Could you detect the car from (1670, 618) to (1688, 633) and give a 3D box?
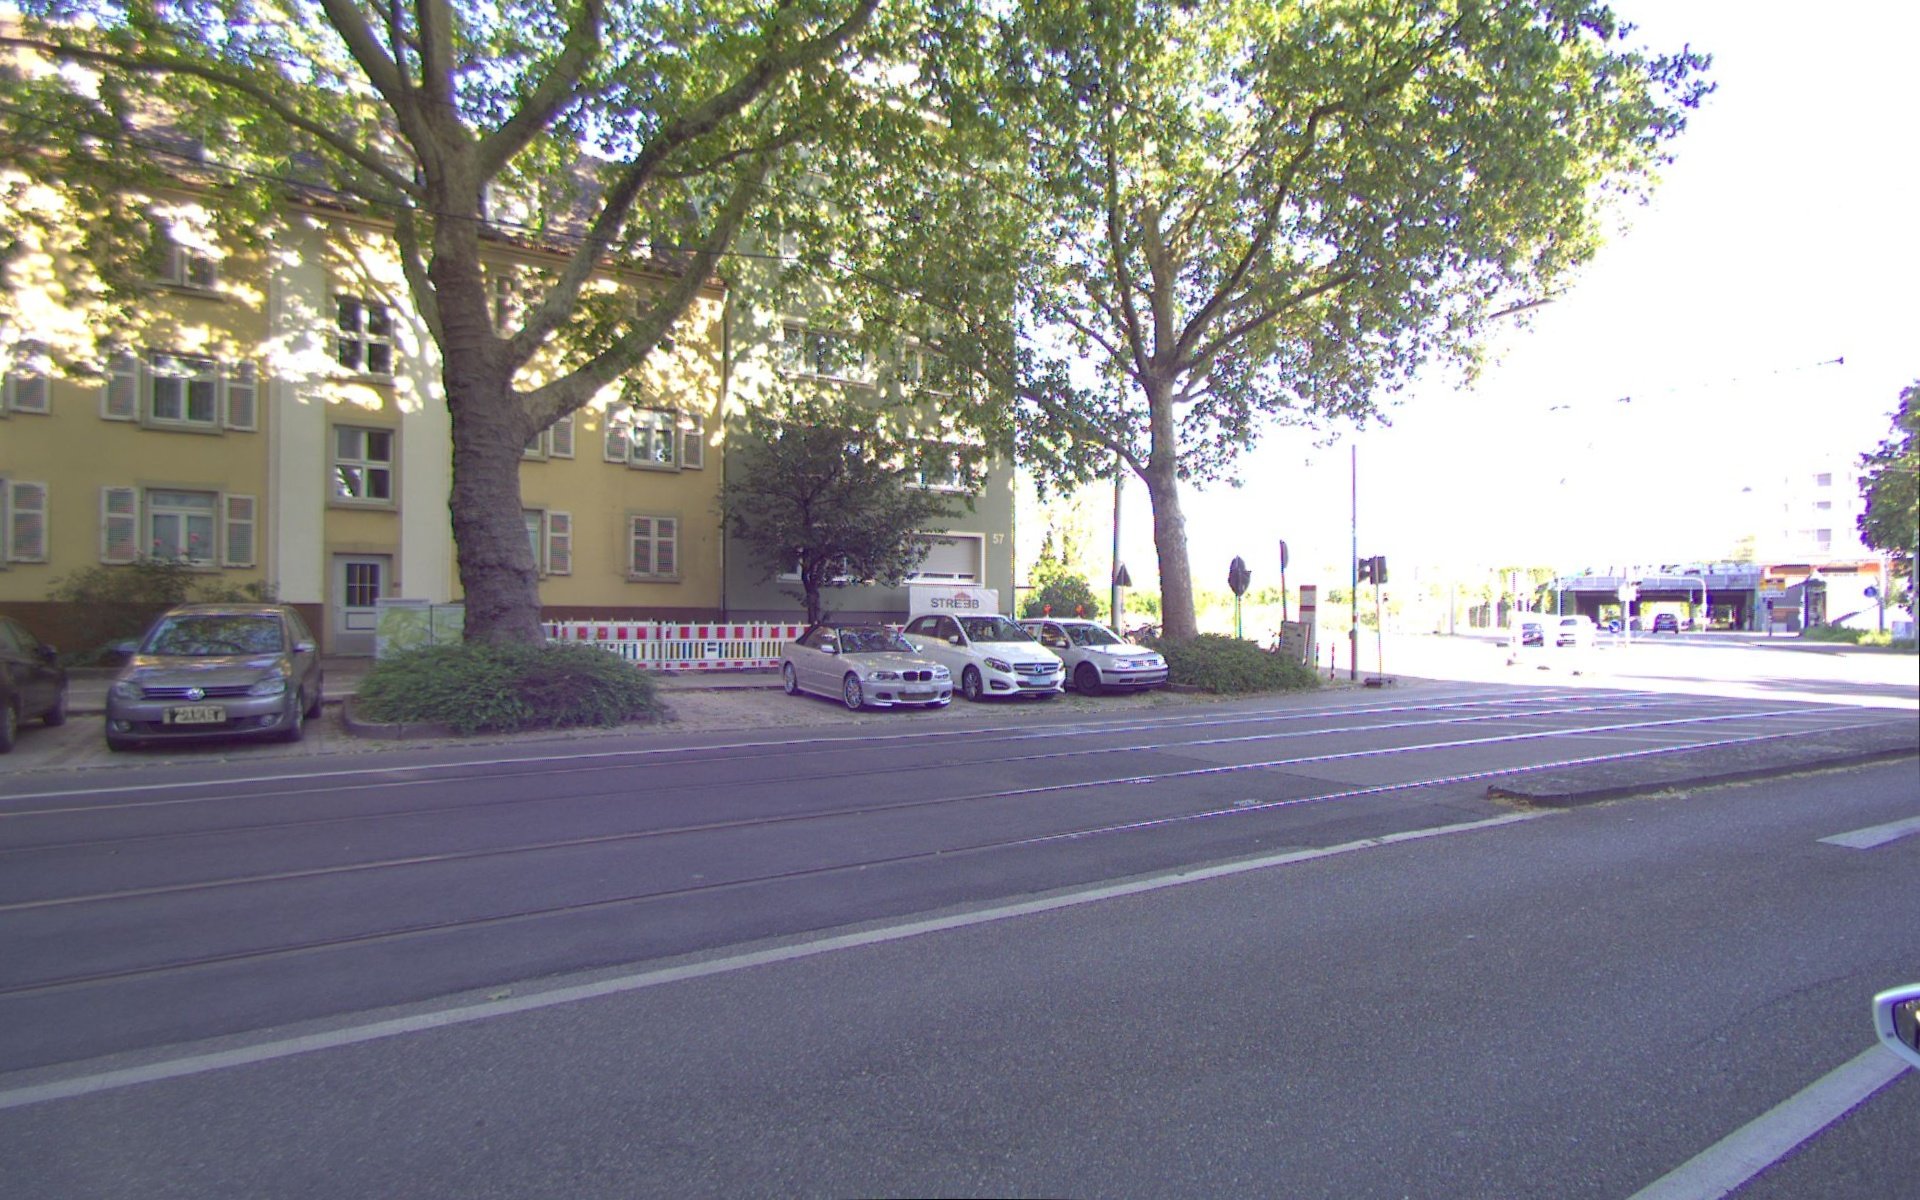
[{"bbox_3d":[83.518,2.975,116.683,1.731,1.706,3.729,2,0,36],"label":"car"}]

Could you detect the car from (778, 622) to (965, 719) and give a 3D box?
[{"bbox_3d":[-1.639,1.111,17.318,1.651,1.370,3.949,1,0,-31],"label":"car"}]

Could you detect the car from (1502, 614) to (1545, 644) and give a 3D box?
[{"bbox_3d":[33.228,1.702,59.188,1.774,1.684,4.341,0,-1,36],"label":"car"}]

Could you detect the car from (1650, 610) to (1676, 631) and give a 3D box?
[{"bbox_3d":[64.590,1.865,92.295,1.883,1.906,4.830,0,-1,35],"label":"car"}]

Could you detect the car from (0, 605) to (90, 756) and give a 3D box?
[{"bbox_3d":[-11.454,0.835,11.393,1.652,1.518,3.778,1,0,-29],"label":"car"}]

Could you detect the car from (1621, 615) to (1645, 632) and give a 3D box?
[{"bbox_3d":[69.619,2.418,103.903,1.860,1.606,3.823,2,0,37],"label":"car"}]

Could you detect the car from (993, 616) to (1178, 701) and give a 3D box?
[{"bbox_3d":[2.451,1.112,20.538,1.651,1.473,3.949,1,0,-31],"label":"car"}]

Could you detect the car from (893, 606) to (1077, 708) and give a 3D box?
[{"bbox_3d":[0.361,0.985,19.163,1.651,1.669,3.949,1,0,-31],"label":"car"}]

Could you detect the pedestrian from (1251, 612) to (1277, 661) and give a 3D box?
[{"bbox_3d":[10.746,1.266,35.488,0.759,1.683,0.955,2,0,22],"label":"pedestrian"}]

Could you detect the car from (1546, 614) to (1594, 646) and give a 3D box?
[{"bbox_3d":[33.544,1.629,55.200,1.860,1.606,3.823,2,0,37],"label":"car"}]

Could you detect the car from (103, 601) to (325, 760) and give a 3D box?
[{"bbox_3d":[-8.988,0.835,12.425,1.652,1.602,3.953,1,0,-29],"label":"car"}]

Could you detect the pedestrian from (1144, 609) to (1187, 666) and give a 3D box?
[{"bbox_3d":[6.209,1.123,30.316,0.919,1.669,0.841,2,0,-30],"label":"pedestrian"}]
